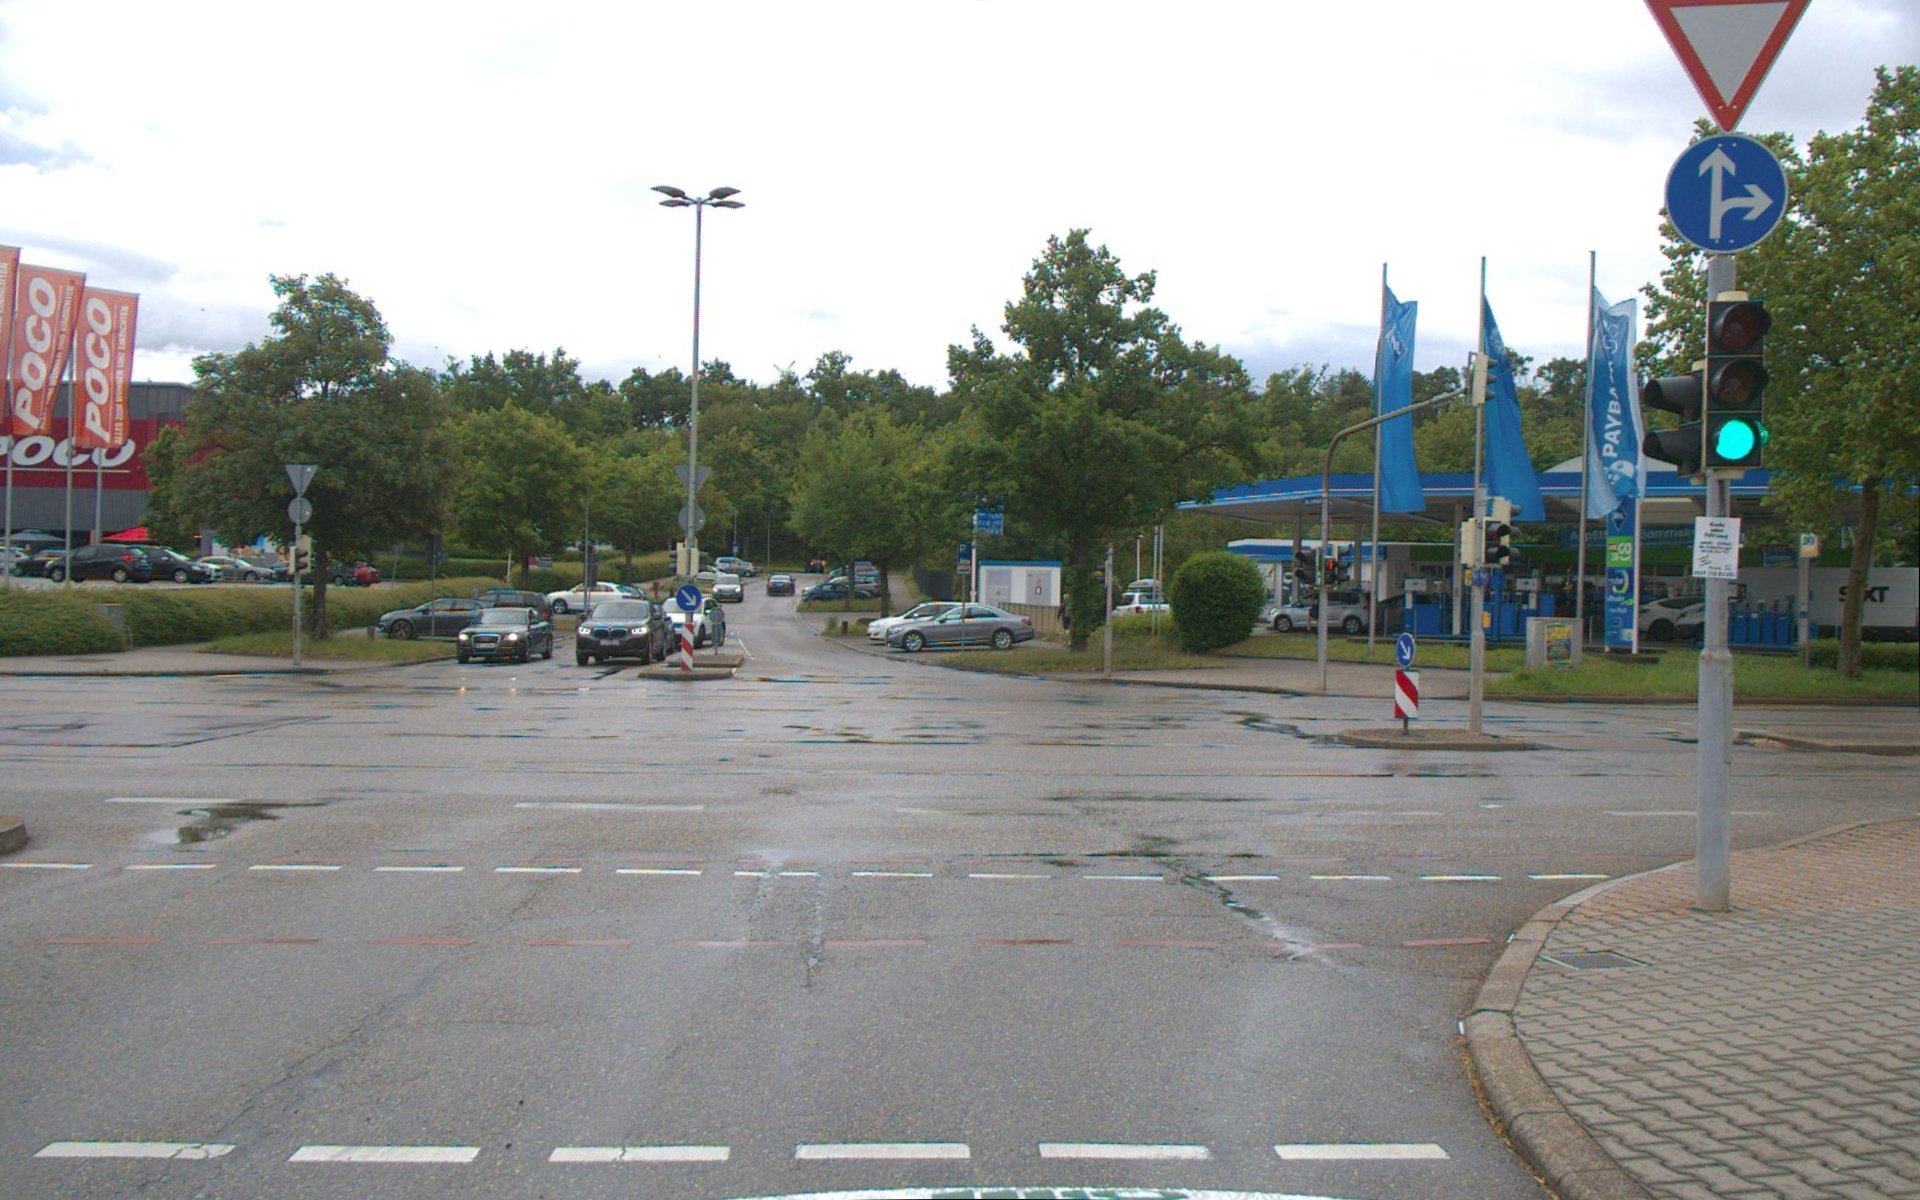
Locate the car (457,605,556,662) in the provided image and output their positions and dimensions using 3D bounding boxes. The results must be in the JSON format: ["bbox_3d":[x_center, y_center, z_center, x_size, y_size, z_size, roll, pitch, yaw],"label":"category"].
[{"bbox_3d":[-12.052,0.874,44.185,1.747,1.429,3.997,1,-1,-4],"label":"car"}]

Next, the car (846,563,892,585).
[{"bbox_3d":[-7.931,-2.242,143.432,3.910,1.769,1.808,1,-1,-7],"label":"car"}]

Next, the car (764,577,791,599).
[{"bbox_3d":[-12.692,-0.814,115.054,1.773,1.508,3.745,1,-1,-7],"label":"car"}]

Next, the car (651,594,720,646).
[{"bbox_3d":[-9.045,0.635,54.819,1.858,1.580,3.997,1,1,-4],"label":"car"}]

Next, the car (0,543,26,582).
[{"bbox_3d":[-37.568,-1.433,62.261,3.816,1.405,1.673,1,-1,1],"label":"car"}]

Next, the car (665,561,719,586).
[{"bbox_3d":[-20.234,-1.981,124.844,3.911,1.825,1.853,0,-1,-8],"label":"car"}]

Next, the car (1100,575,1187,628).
[{"bbox_3d":[6.572,0.071,59.684,1.780,1.829,3.682,1,-1,-17],"label":"car"}]

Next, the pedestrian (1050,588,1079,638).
[{"bbox_3d":[3.535,0.441,55.873,0.794,1.690,0.884,0,-1,-10],"label":"pedestrian"}]

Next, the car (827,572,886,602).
[{"bbox_3d":[-6.484,-0.825,103.462,3.627,1.780,1.695,1,-1,-6],"label":"car"}]

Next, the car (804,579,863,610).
[{"bbox_3d":[-7.437,-0.306,96.869,3.393,1.683,1.614,1,-1,-6],"label":"car"}]

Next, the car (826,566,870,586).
[{"bbox_3d":[-10.250,-2.204,150.826,3.910,1.769,1.808,1,-1,-7],"label":"car"}]

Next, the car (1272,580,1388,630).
[{"bbox_3d":[14.399,0.178,64.397,4.038,1.839,1.942,1,-1,30],"label":"car"}]

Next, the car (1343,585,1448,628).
[{"bbox_3d":[17.986,0.274,68.276,3.909,1.758,1.793,0,-1,27],"label":"car"}]

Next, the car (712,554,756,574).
[{"bbox_3d":[-21.233,-3.374,155.446,3.907,1.825,1.855,0,-1,-3],"label":"car"}]

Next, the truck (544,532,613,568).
[{"bbox_3d":[-43.482,-5.695,188.508,7.218,3.928,2.777,1,-1,-2],"label":"truck"}]

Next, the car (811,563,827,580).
[{"bbox_3d":[-15.606,-3.145,182.878,1.769,1.769,3.995,1,-1,-5],"label":"car"}]

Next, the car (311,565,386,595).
[{"bbox_3d":[-35.694,-1.139,96.577,3.736,1.674,1.673,1,-1,1],"label":"car"}]

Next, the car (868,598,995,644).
[{"bbox_3d":[-1.071,0.763,60.927,4.486,1.617,1.926,1,-1,-8],"label":"car"}]

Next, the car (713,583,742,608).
[{"bbox_3d":[-14.448,-0.256,103.101,1.665,1.481,3.668,0,-1,-6],"label":"car"}]

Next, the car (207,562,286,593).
[{"bbox_3d":[-40.500,-1.265,93.979,3.736,1.674,1.673,1,-1,1],"label":"car"}]

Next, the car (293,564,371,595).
[{"bbox_3d":[-35.602,-1.166,93.792,3.736,1.674,1.673,1,-1,1],"label":"car"}]

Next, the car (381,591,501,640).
[{"bbox_3d":[-17.320,0.530,55.326,3.579,1.580,1.682,1,-1,-7],"label":"car"}]

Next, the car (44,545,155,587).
[{"bbox_3d":[-36.062,-1.426,69.378,3.736,1.674,1.673,1,-1,1],"label":"car"}]

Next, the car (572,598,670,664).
[{"bbox_3d":[-8.666,0.776,42.639,1.858,1.580,4.588,1,-1,-4],"label":"car"}]

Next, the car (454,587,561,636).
[{"bbox_3d":[-16.645,0.440,60.968,3.579,1.755,1.682,1,-1,-7],"label":"car"}]

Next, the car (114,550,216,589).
[{"bbox_3d":[-35.732,-1.368,74.380,3.736,1.674,1.673,1,-1,1],"label":"car"}]

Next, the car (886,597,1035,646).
[{"bbox_3d":[-0.023,0.737,55.633,4.793,1.576,1.997,1,-1,-8],"label":"car"}]

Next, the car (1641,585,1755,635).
[{"bbox_3d":[26.083,0.358,58.477,3.487,1.609,1.685,2,0,31],"label":"car"}]

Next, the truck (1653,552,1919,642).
[{"bbox_3d":[26.414,-0.087,52.952,7.691,2.722,2.154,0,1,25],"label":"truck"}]

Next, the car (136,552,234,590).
[{"bbox_3d":[-36.150,-1.347,77.219,3.736,1.674,1.673,1,-1,1],"label":"car"}]

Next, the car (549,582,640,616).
[{"bbox_3d":[-18.132,-0.023,82.133,4.187,1.637,1.683,1,-1,-4],"label":"car"}]
